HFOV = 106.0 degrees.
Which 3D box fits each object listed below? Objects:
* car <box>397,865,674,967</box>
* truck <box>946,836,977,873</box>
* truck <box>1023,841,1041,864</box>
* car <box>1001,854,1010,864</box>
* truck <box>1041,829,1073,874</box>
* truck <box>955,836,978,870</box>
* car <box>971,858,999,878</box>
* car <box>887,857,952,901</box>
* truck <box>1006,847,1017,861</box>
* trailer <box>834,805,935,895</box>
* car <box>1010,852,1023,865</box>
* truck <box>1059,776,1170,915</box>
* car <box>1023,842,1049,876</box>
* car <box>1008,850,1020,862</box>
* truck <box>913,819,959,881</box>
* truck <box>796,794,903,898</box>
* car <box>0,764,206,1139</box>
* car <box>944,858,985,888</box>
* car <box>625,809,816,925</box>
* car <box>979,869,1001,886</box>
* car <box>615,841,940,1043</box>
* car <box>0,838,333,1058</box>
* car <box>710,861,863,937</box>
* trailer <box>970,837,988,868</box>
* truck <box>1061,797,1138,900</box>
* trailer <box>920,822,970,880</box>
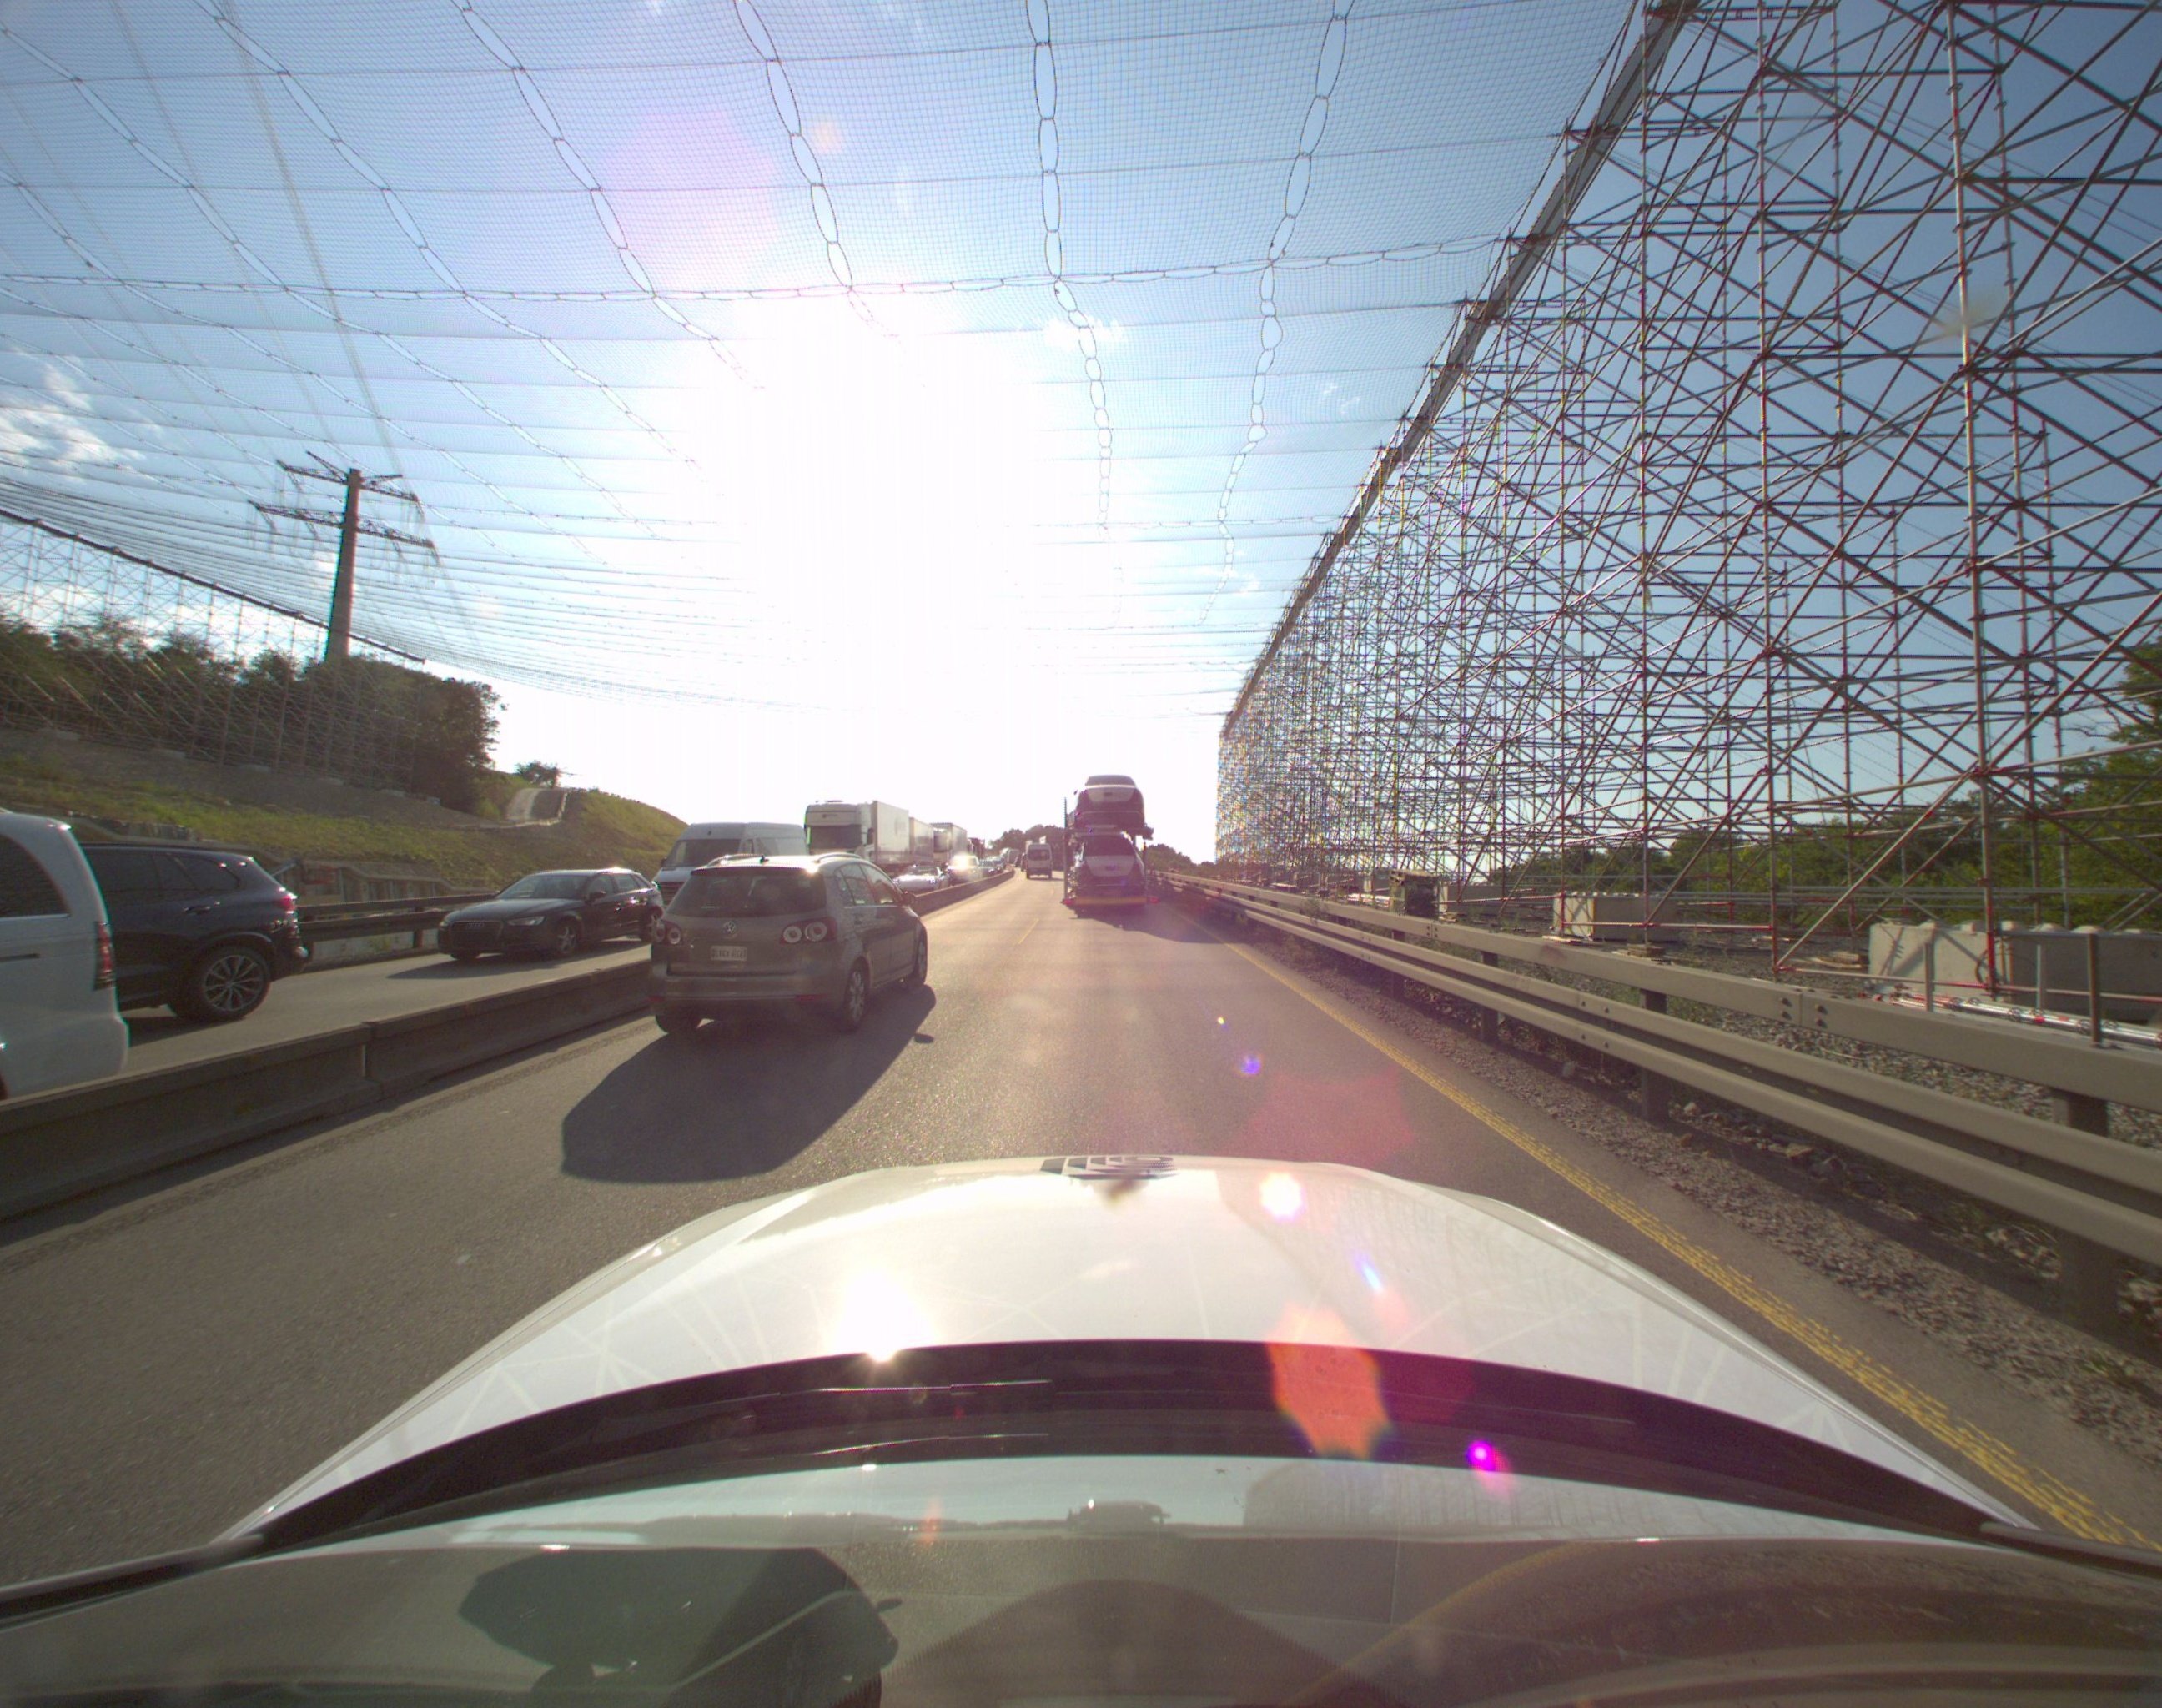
[{"bbox_3d":[-9.057,0.935,14.086,1.786,1.437,4.381,0,-1,1],"label":"car"},{"bbox_3d":[-11.223,0.098,76.858,2.409,3.370,5.609,0,-1,-4],"label":"truck"},{"bbox_3d":[-7.870,-0.218,131.311,2.527,3.648,8.887,0,-1,-6],"label":"truck"},{"bbox_3d":[-15.013,0.999,162.617,1.834,1.836,3.992,0,-1,-5],"label":"car"},{"bbox_3d":[-3.012,-0.275,99.732,3.281,5.237,9.917,0,-1,-5],"label":"truck"},{"bbox_3d":[-13.094,-0.073,93.722,2.430,3.785,5.604,0,-1,-6],"label":"truck"},{"bbox_3d":[-7.308,1.083,62.443,1.773,1.450,4.658,0,-1,-3],"label":"car"},{"bbox_3d":[-6.256,0.934,31.959,1.804,1.568,4.362,0,-1,-2],"label":"car"},{"bbox_3d":[-15.823,0.020,185.346,2.586,3.170,6.665,0,-1,-5],"label":"truck"},{"bbox_3d":[-9.994,-0.132,43.123,2.663,4.015,13.320,0,-1,-2],"label":"trailer"},{"bbox_3d":[-9.053,0.597,114.063,1.823,1.772,3.994,0,-1,-4],"label":"car"},{"bbox_3d":[0.790,-0.185,25.926,2.791,3.497,10.600,0,-1,-1],"label":"truck"},{"bbox_3d":[-3.511,0.376,62.686,1.917,2.492,5.399,0,-1,-5],"label":"car"},{"bbox_3d":[-11.007,0.350,133.239,1.629,2.014,3.988,0,-1,-8],"label":"car"},{"bbox_3d":[-9.856,-0.254,55.834,2.468,4.046,5.609,0,-1,-4],"label":"truck"},{"bbox_3d":[-9.548,-0.291,34.434,2.624,3.910,7.199,0,-1,-2],"label":"truck"},{"bbox_3d":[-6.314,0.480,2.354,1.802,1.869,5.282,0,-1,1],"label":"car"},{"bbox_3d":[-6.346,1.009,44.736,1.804,1.568,4.362,0,-1,-2],"label":"car"},{"bbox_3d":[-9.608,0.335,22.641,2.235,2.713,7.079,0,-1,-1],"label":"car"},{"bbox_3d":[-7.747,1.972,69.612,1.604,1.376,3.895,0,-1,-4],"label":"car"},{"bbox_3d":[-2.767,0.719,8.466,1.684,1.596,4.003,0,-1,3],"label":"car"},{"bbox_3d":[-9.409,0.751,6.748,1.817,1.727,4.937,0,-1,1],"label":"car"},{"bbox_3d":[-6.135,0.861,17.570,1.804,1.419,4.514,0,-1,-2],"label":"car"},{"bbox_3d":[-15.005,-0.160,119.778,2.474,4.328,10.483,0,-1,-7],"label":"trailer"},{"bbox_3d":[0.643,-0.166,35.328,2.829,3.792,9.982,0,-1,-1],"label":"truck"},{"bbox_3d":[-10.280,-0.142,62.810,2.423,3.963,14.077,0,0,-4],"label":"trailer"}]
